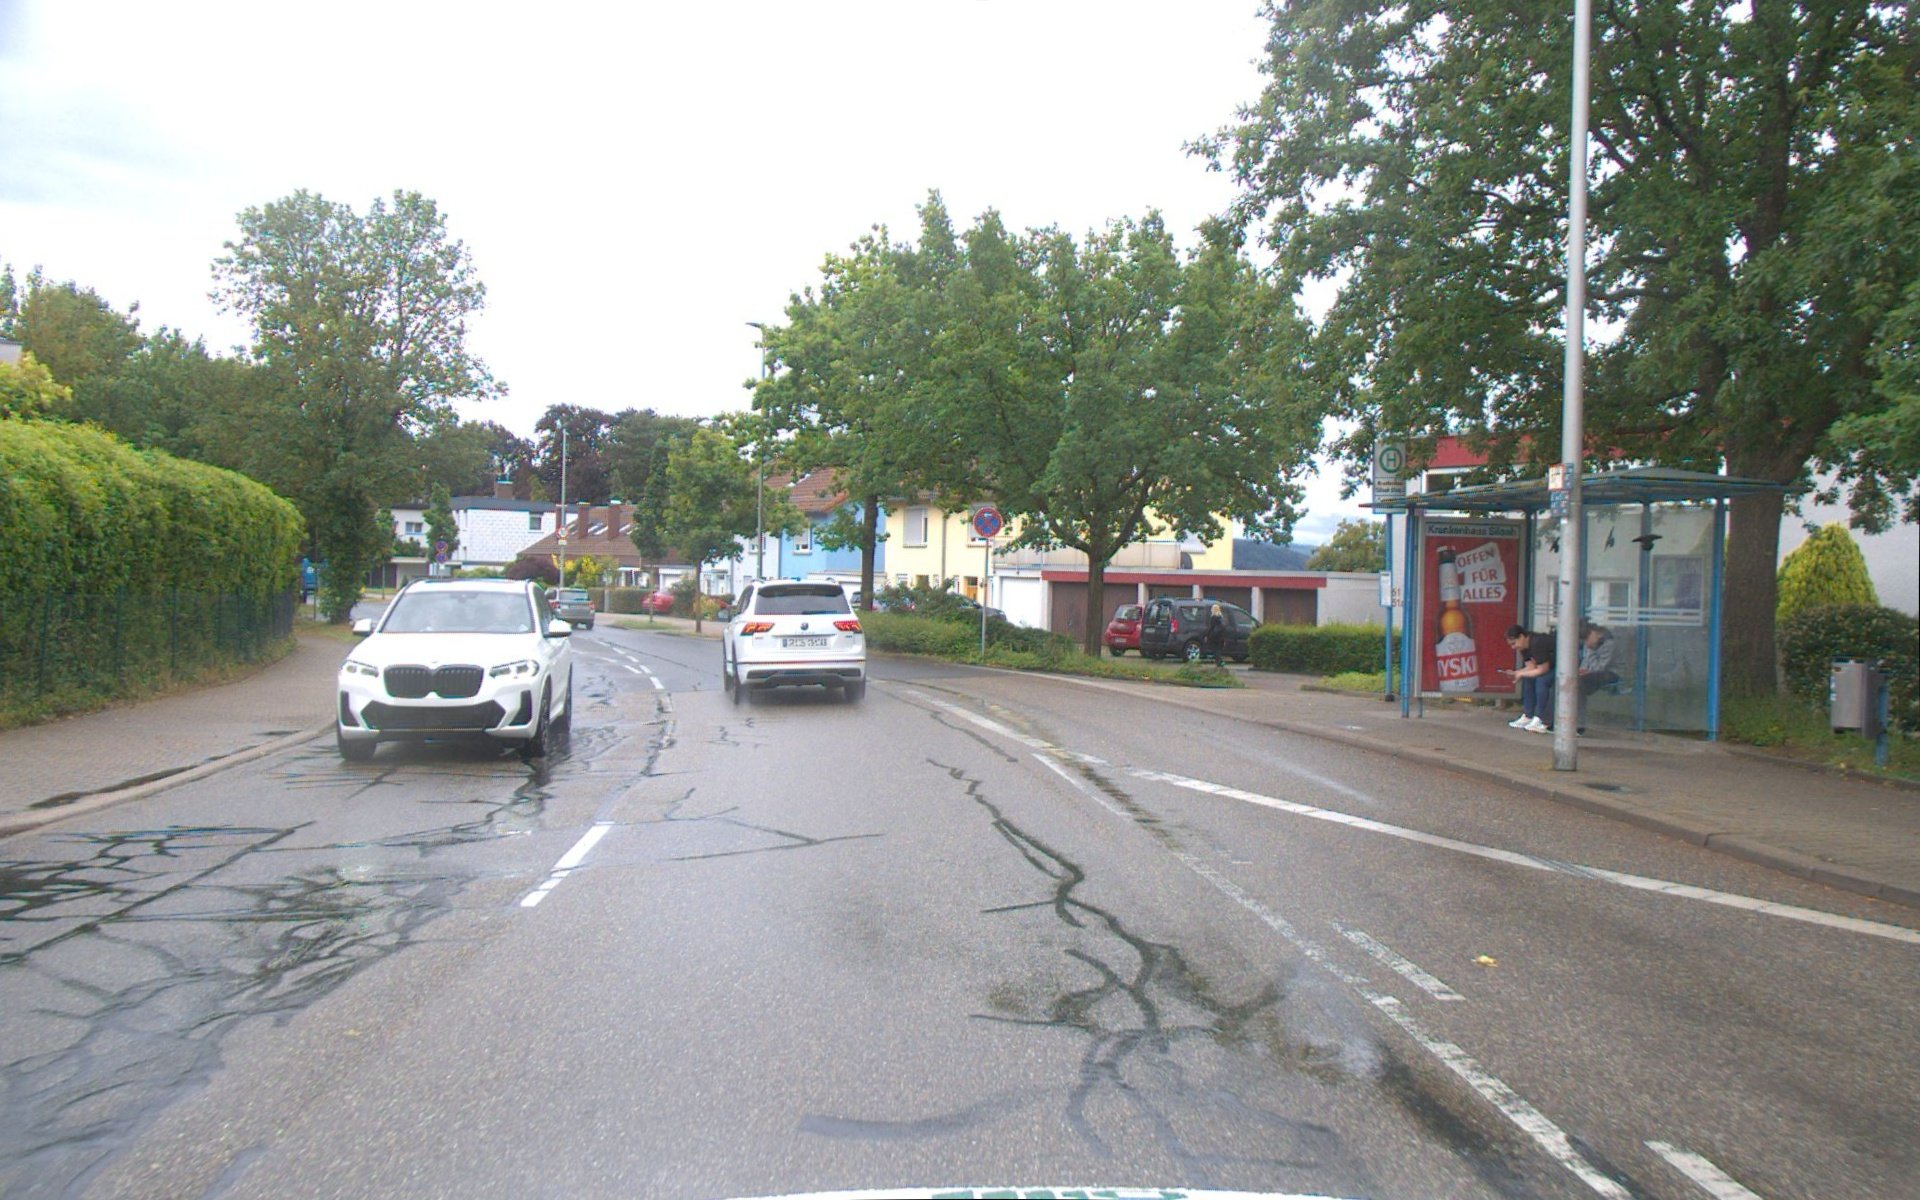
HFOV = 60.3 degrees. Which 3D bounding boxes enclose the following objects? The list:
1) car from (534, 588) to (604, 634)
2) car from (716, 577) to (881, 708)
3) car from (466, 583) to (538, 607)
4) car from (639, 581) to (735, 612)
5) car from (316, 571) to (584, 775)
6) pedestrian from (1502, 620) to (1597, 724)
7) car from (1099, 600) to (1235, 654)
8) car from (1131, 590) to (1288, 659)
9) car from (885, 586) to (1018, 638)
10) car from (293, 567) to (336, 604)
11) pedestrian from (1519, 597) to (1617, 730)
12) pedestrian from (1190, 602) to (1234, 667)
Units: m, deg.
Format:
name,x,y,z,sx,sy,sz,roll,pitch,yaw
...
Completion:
name,x,y,z,sx,sy,sz,roll,pitch,yaw
car,-14.339,0.383,60.522,1.746,1.578,3.970,1,0,-24
car,-2.386,0.527,23.581,1.833,1.679,3.987,-1,1,-13
car,-28.521,-0.325,102.999,3.952,1.467,1.826,0,0,-34
car,-12.970,-0.156,78.622,4.281,1.282,1.654,2,0,-42
car,-4.876,0.571,16.500,1.855,1.639,4.856,-1,2,-9
pedestrian,6.007,0.729,16.878,0.734,1.029,0.551,1,0,-6
car,5.920,0.763,47.116,3.659,1.467,1.687,1,0,-34
car,6.739,0.649,44.527,3.951,1.751,1.902,1,0,-34
car,-0.279,0.401,56.513,4.138,1.701,1.970,1,0,-32
car,-48.404,-1.133,124.018,1.975,2.631,5.572,-1,2,-32
pedestrian,5.949,0.612,16.197,0.712,1.272,0.551,1,0,-6
pedestrian,6.222,0.843,40.819,0.659,1.585,0.831,1,0,-37
